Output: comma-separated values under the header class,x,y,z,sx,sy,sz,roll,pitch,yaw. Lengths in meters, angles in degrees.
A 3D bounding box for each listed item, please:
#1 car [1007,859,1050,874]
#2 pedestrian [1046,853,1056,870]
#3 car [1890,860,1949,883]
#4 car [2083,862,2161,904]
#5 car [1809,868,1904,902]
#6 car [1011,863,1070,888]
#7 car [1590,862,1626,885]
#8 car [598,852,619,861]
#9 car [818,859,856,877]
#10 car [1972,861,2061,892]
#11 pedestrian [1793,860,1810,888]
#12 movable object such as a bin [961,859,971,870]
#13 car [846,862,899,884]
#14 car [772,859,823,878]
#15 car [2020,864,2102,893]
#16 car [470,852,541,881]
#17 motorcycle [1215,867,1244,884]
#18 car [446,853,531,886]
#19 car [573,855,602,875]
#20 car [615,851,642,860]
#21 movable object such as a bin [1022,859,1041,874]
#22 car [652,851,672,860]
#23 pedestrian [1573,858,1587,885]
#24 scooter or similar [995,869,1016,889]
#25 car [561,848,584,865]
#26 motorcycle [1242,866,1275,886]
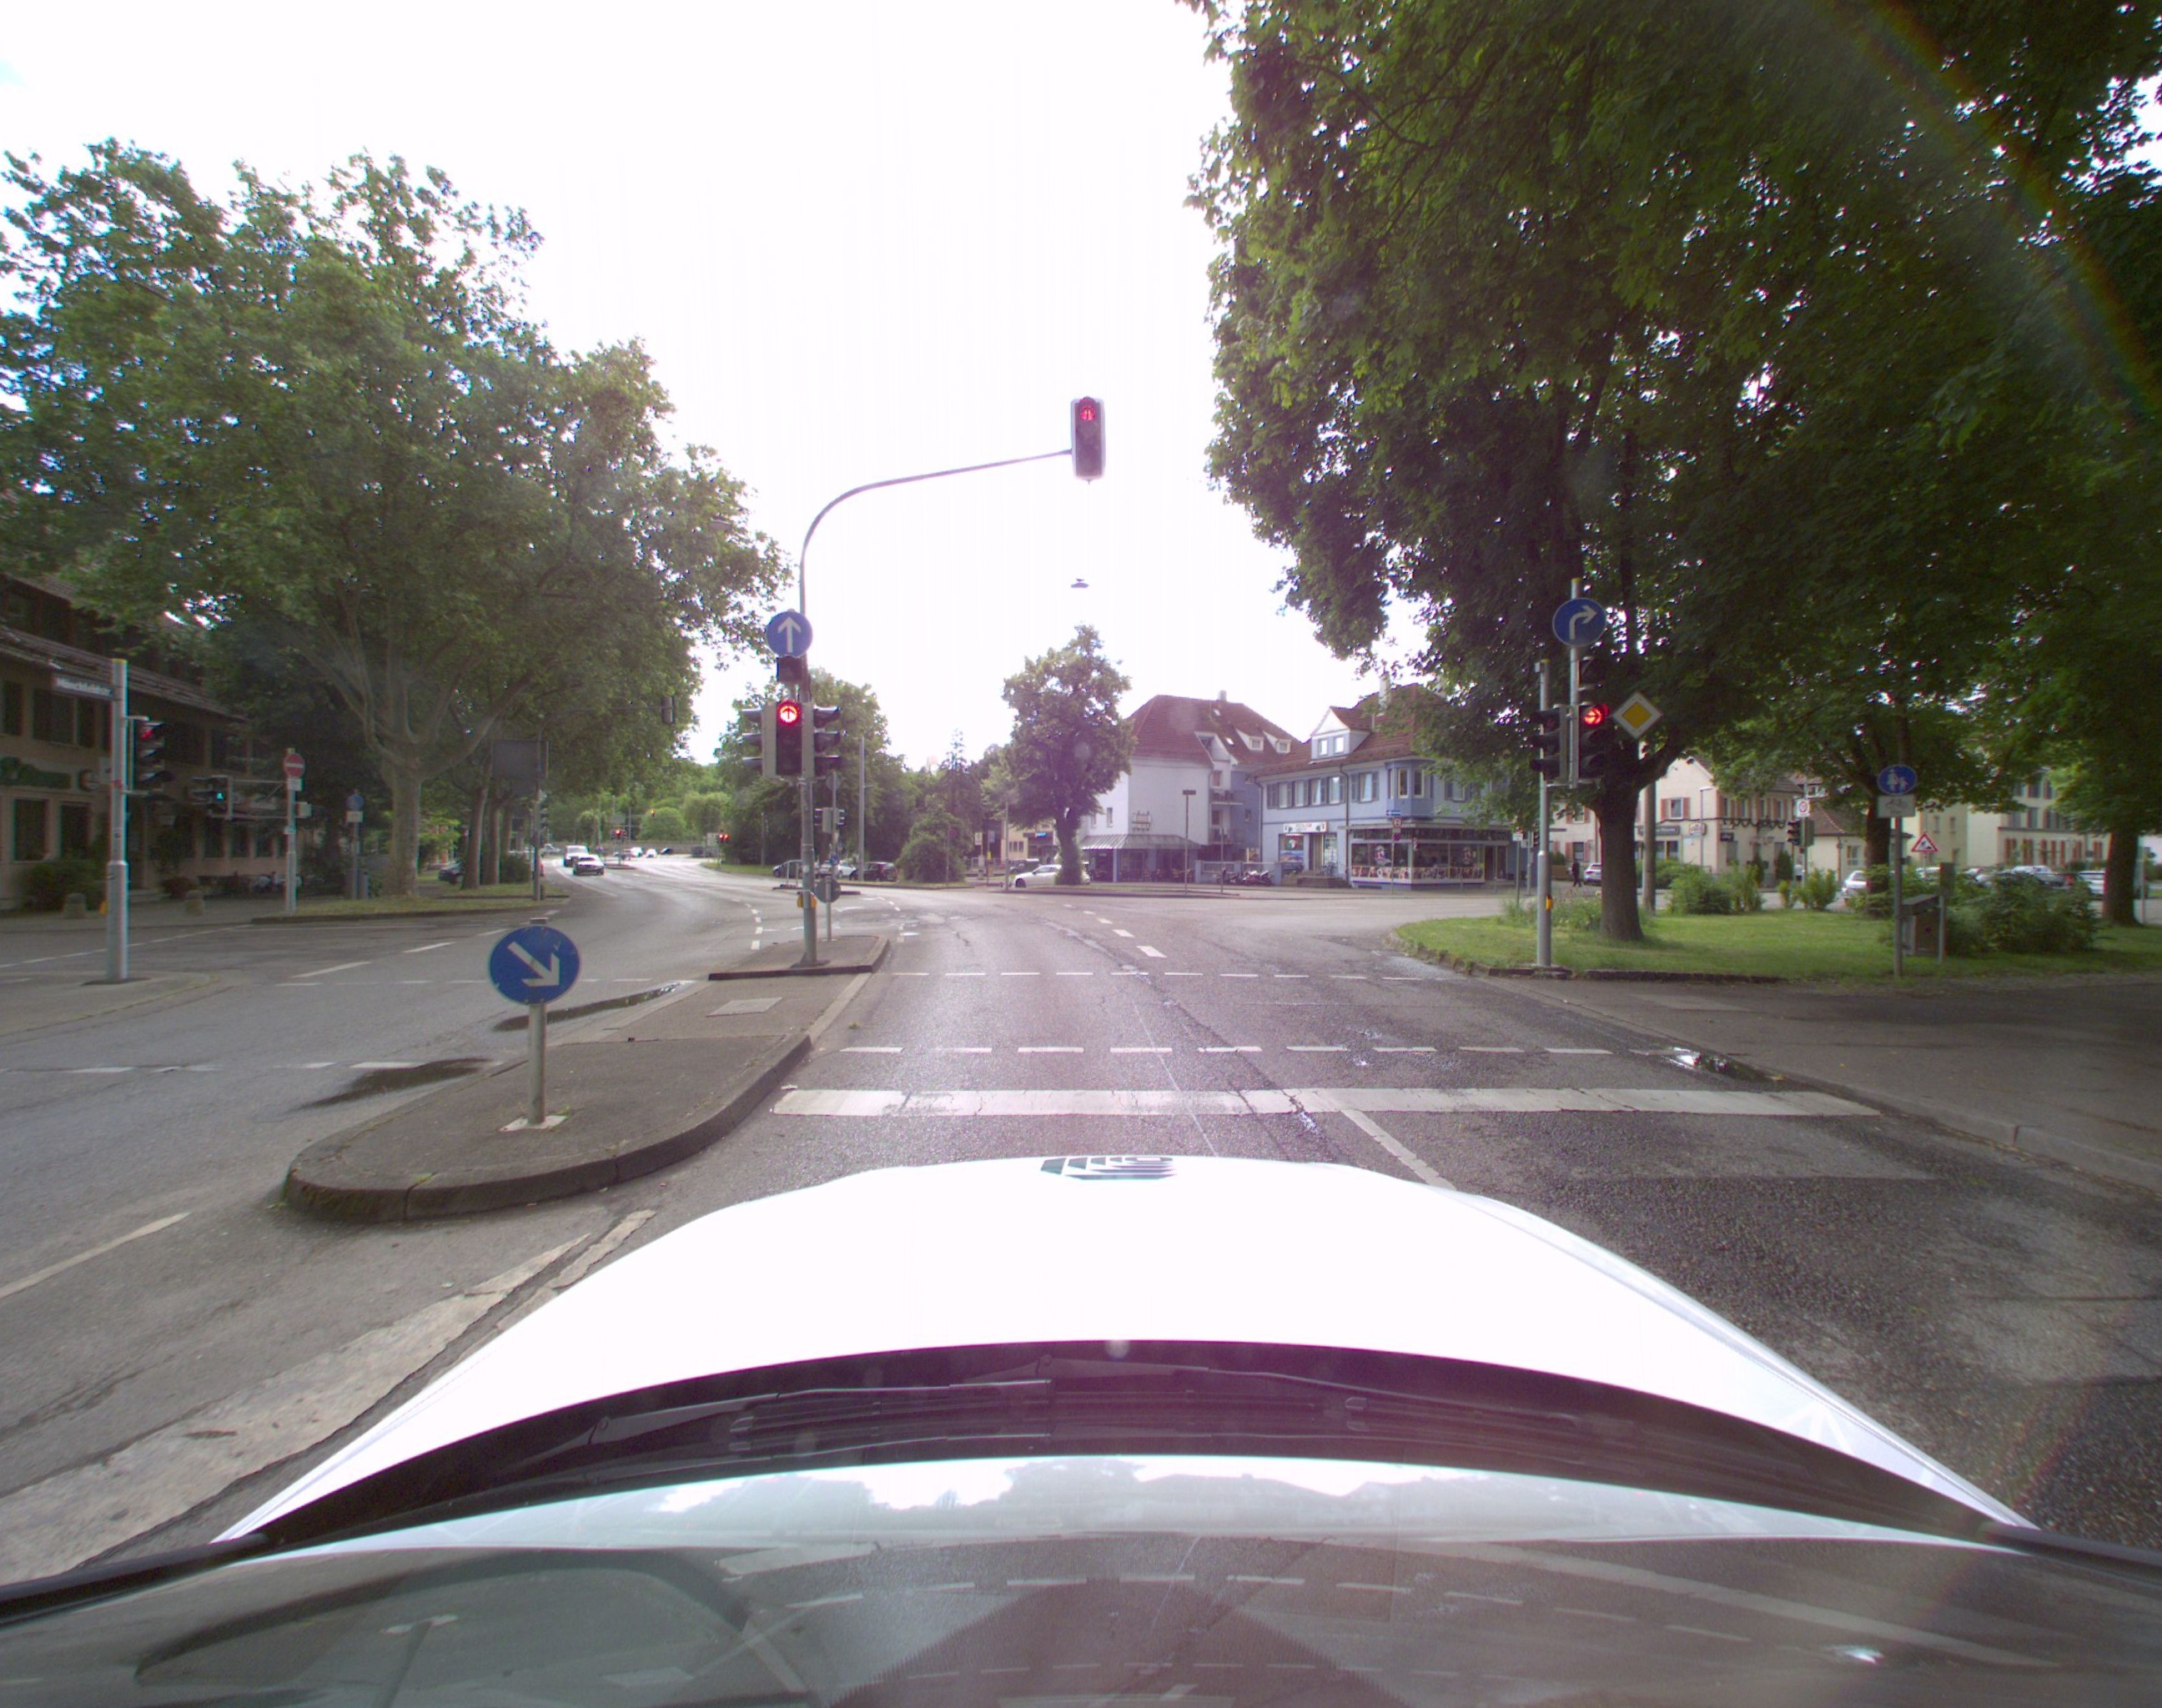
class,x,y,z,sx,sy,sz,roll,pitch,yaw
car,-4.878,1.138,76.163,3.752,1.345,1.422,0,0,-25
pedestrian,-2.838,0.702,76.731,0.681,1.545,0.701,0,-1,-32
car,55.119,1.130,53.538,4.007,1.420,1.544,0,0,-26
car,52.835,1.437,41.133,4.004,2.014,1.770,0,-1,-23
car,31.967,1.253,33.576,3.511,1.321,1.549,0,0,-22
car,-2.304,1.203,46.246,3.134,1.354,1.448,0,-1,36
car,32.606,1.187,50.348,1.481,1.369,3.198,-1,-1,40
car,-106.175,0.499,183.034,4.011,2.014,1.981,0,-1,-29
car,-20.076,1.133,67.194,1.534,1.464,3.407,0,0,13
car,42.220,0.978,36.760,3.510,1.321,1.549,0,0,-21
pedestrian,43.409,1.181,49.062,0.611,1.649,0.606,0,-1,-27
movable object such as a bin,-12.218,1.123,86.647,0.953,1.115,0.381,0,-1,-19
car,-13.903,1.268,54.213,3.549,1.394,1.481,0,-1,34
car,-22.435,1.116,64.492,3.520,1.464,1.591,0,0,14
car,47.007,1.169,39.067,3.511,1.321,1.549,0,0,-22
car,-35.480,0.758,50.290,3.461,1.742,1.557,0,-1,-31
motorcycle,9.117,1.315,50.085,0.699,1.064,1.617,0,-1,-44
car,-30.998,0.785,42.725,3.461,1.641,1.557,0,-1,-31
car,-36.707,0.816,60.550,1.440,1.416,2.838,0,-1,-39
car,-81.553,0.275,146.822,4.003,1.551,1.855,0,0,-23
movable object such as a bin,-4.520,1.136,74.256,1.447,1.409,0.959,0,-1,-25
car,-95.495,0.441,185.610,4.011,2.014,1.981,0,-1,-29
pedestrian,28.923,1.020,47.208,0.462,1.517,0.581,0,-1,-38
scooter or similar,-3.974,1.291,42.889,0.413,1.011,1.575,-1,-1,22
car,-46.107,0.228,73.830,1.440,1.416,2.838,0,-1,-39
motorcycle,10.539,1.289,48.271,1.777,1.121,0.699,0,-1,40
